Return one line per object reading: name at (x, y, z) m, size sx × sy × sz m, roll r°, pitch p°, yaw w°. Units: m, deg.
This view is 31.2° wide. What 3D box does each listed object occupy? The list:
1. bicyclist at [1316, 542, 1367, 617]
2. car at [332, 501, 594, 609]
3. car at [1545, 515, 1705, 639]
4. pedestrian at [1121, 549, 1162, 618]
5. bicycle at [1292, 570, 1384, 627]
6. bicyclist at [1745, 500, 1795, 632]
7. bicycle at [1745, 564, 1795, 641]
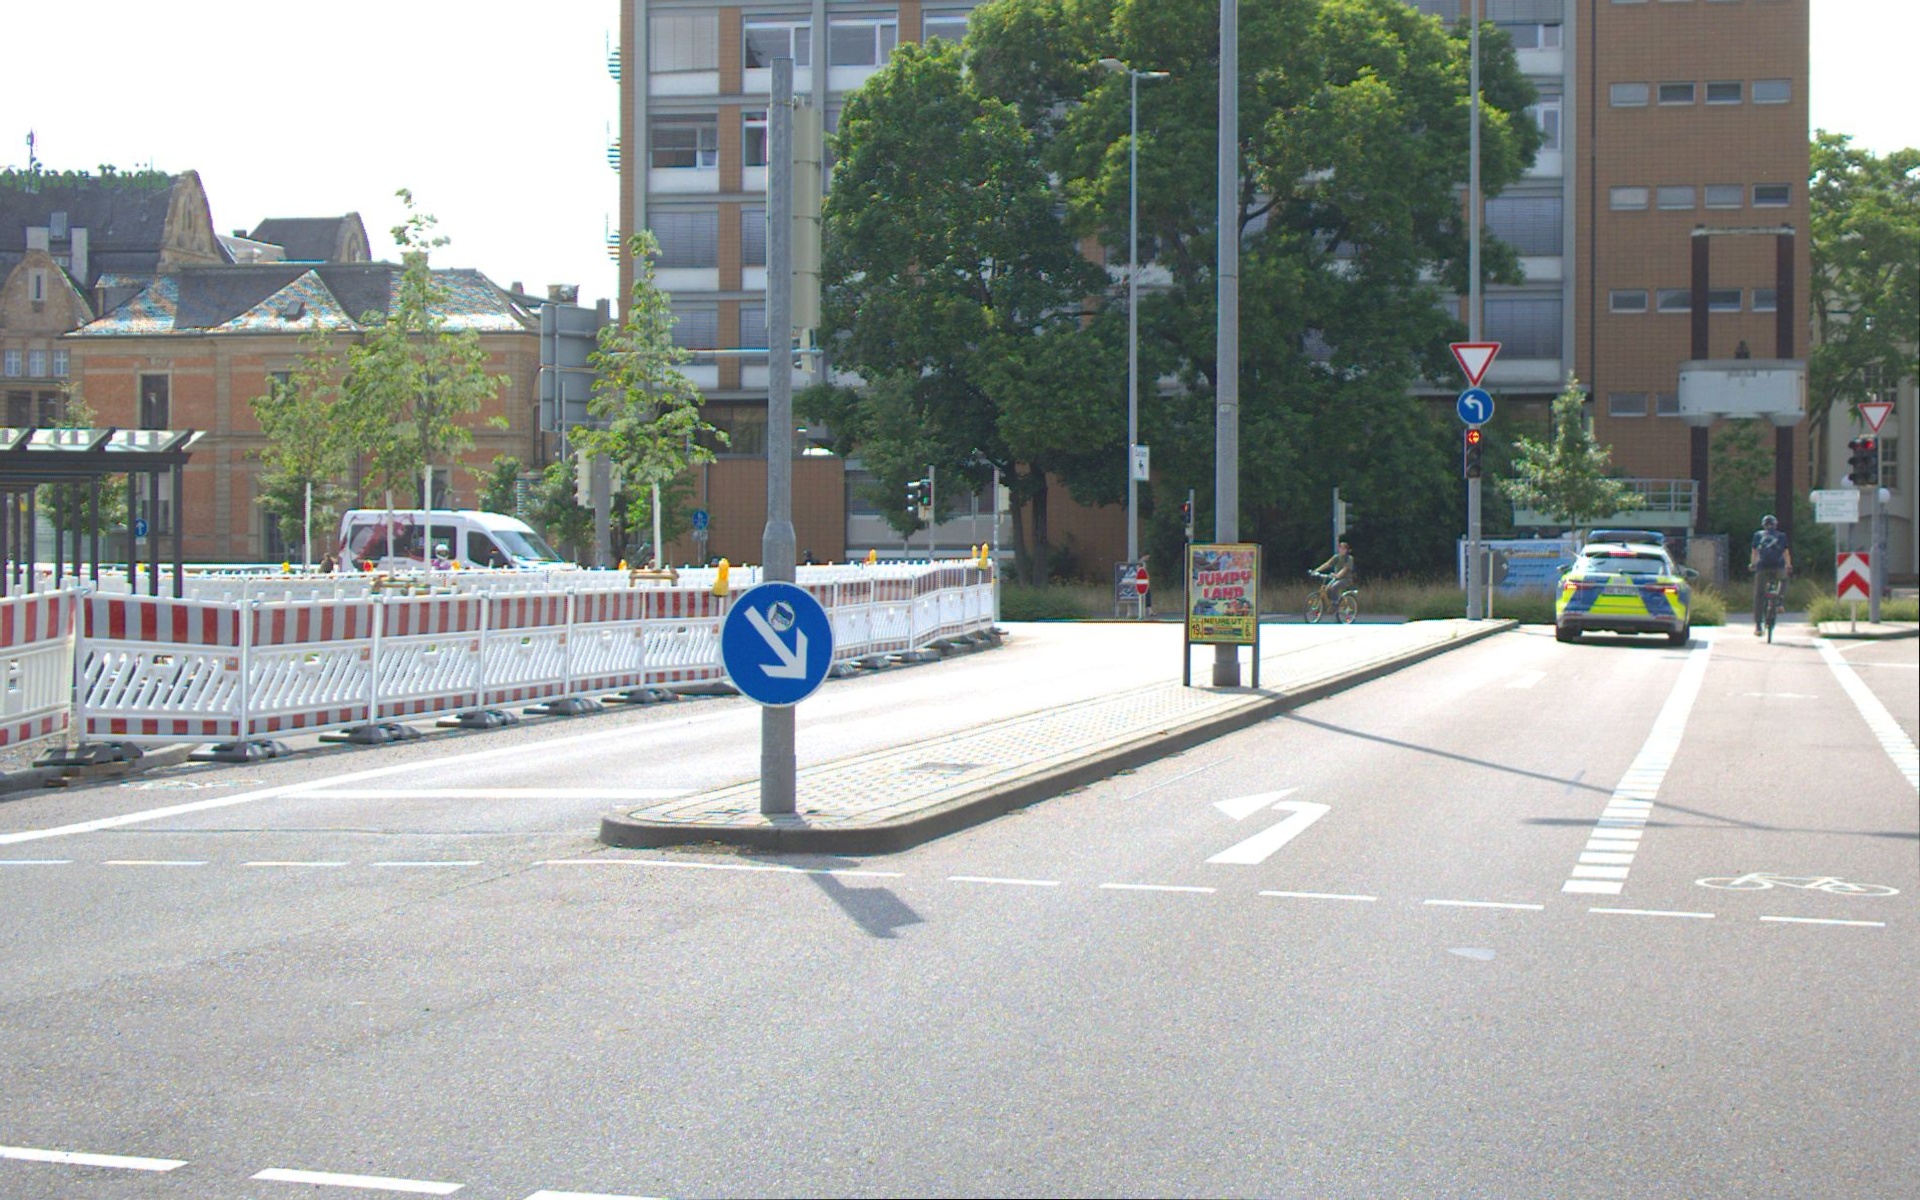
bicyclist at (7.631, -0.410, 68.799) m, size 0.635 × 1.465 × 0.837 m, roll 1°, pitch 2°, yaw 44°
car at (-11.032, -0.991, 76.189) m, size 5.580 × 2.311 × 2.297 m, roll 0°, pitch 1°, yaw 32°
car at (9.809, -0.354, 50.469) m, size 2.131 × 1.678 × 4.100 m, roll 2°, pitch 1°, yaw 13°
pedestrian at (4.943, -0.447, 93.492) m, size 0.944 × 1.876 × 0.907 m, roll 0°, pitch 1°, yaw 16°
bicycle at (7.567, -0.043, 68.736) m, size 0.635 × 1.080 × 2.185 m, roll 1°, pitch 2°, yaw 44°
bicyclist at (12.180, -0.524, 51.733) m, size 0.718 × 1.966 × 0.839 m, roll 0°, pitch 2°, yaw 13°
bicycle at (12.170, 0.025, 51.692) m, size 0.721 × 1.080 × 2.189 m, roll 0°, pitch 2°, yaw 13°
